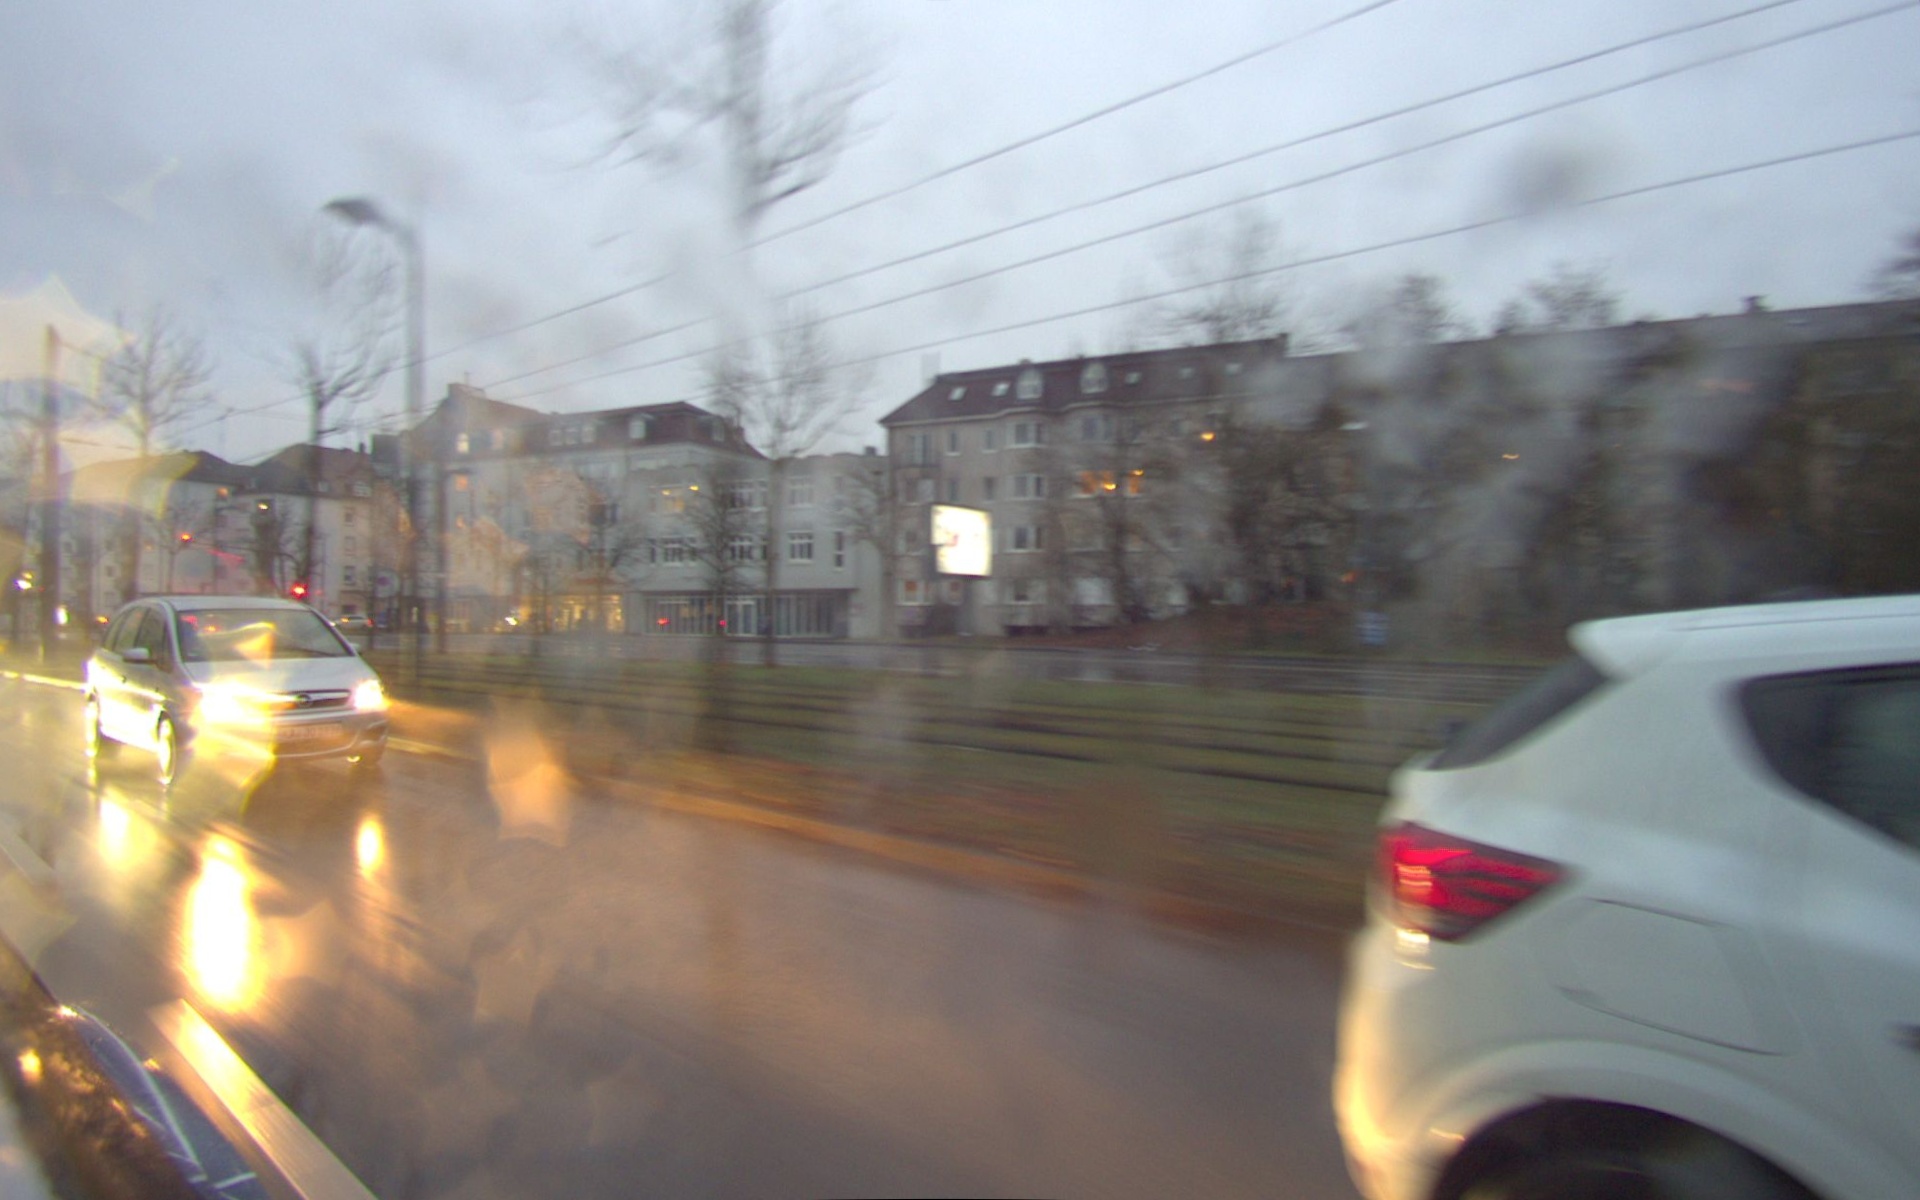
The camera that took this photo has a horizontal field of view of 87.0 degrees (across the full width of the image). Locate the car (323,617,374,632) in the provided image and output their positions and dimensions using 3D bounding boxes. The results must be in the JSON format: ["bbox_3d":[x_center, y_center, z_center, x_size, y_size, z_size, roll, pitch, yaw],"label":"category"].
[{"bbox_3d":[-59.551,2.369,98.643,1.771,1.487,3.859,-1,-2,30],"label":"car"}]

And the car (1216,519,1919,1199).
[{"bbox_3d":[2.588,0.665,1.214,4.134,1.536,1.690,-1,-1,42],"label":"car"}]

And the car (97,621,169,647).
[{"bbox_3d":[-45.368,1.853,55.476,4.277,1.365,1.876,-1,-2,34],"label":"car"}]

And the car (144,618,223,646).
[{"bbox_3d":[-39.911,1.624,51.988,4.276,1.365,1.877,-1,-2,33],"label":"car"}]

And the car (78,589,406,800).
[{"bbox_3d":[-6.863,0.735,9.526,3.920,1.587,1.648,-1,-1,41],"label":"car"}]
